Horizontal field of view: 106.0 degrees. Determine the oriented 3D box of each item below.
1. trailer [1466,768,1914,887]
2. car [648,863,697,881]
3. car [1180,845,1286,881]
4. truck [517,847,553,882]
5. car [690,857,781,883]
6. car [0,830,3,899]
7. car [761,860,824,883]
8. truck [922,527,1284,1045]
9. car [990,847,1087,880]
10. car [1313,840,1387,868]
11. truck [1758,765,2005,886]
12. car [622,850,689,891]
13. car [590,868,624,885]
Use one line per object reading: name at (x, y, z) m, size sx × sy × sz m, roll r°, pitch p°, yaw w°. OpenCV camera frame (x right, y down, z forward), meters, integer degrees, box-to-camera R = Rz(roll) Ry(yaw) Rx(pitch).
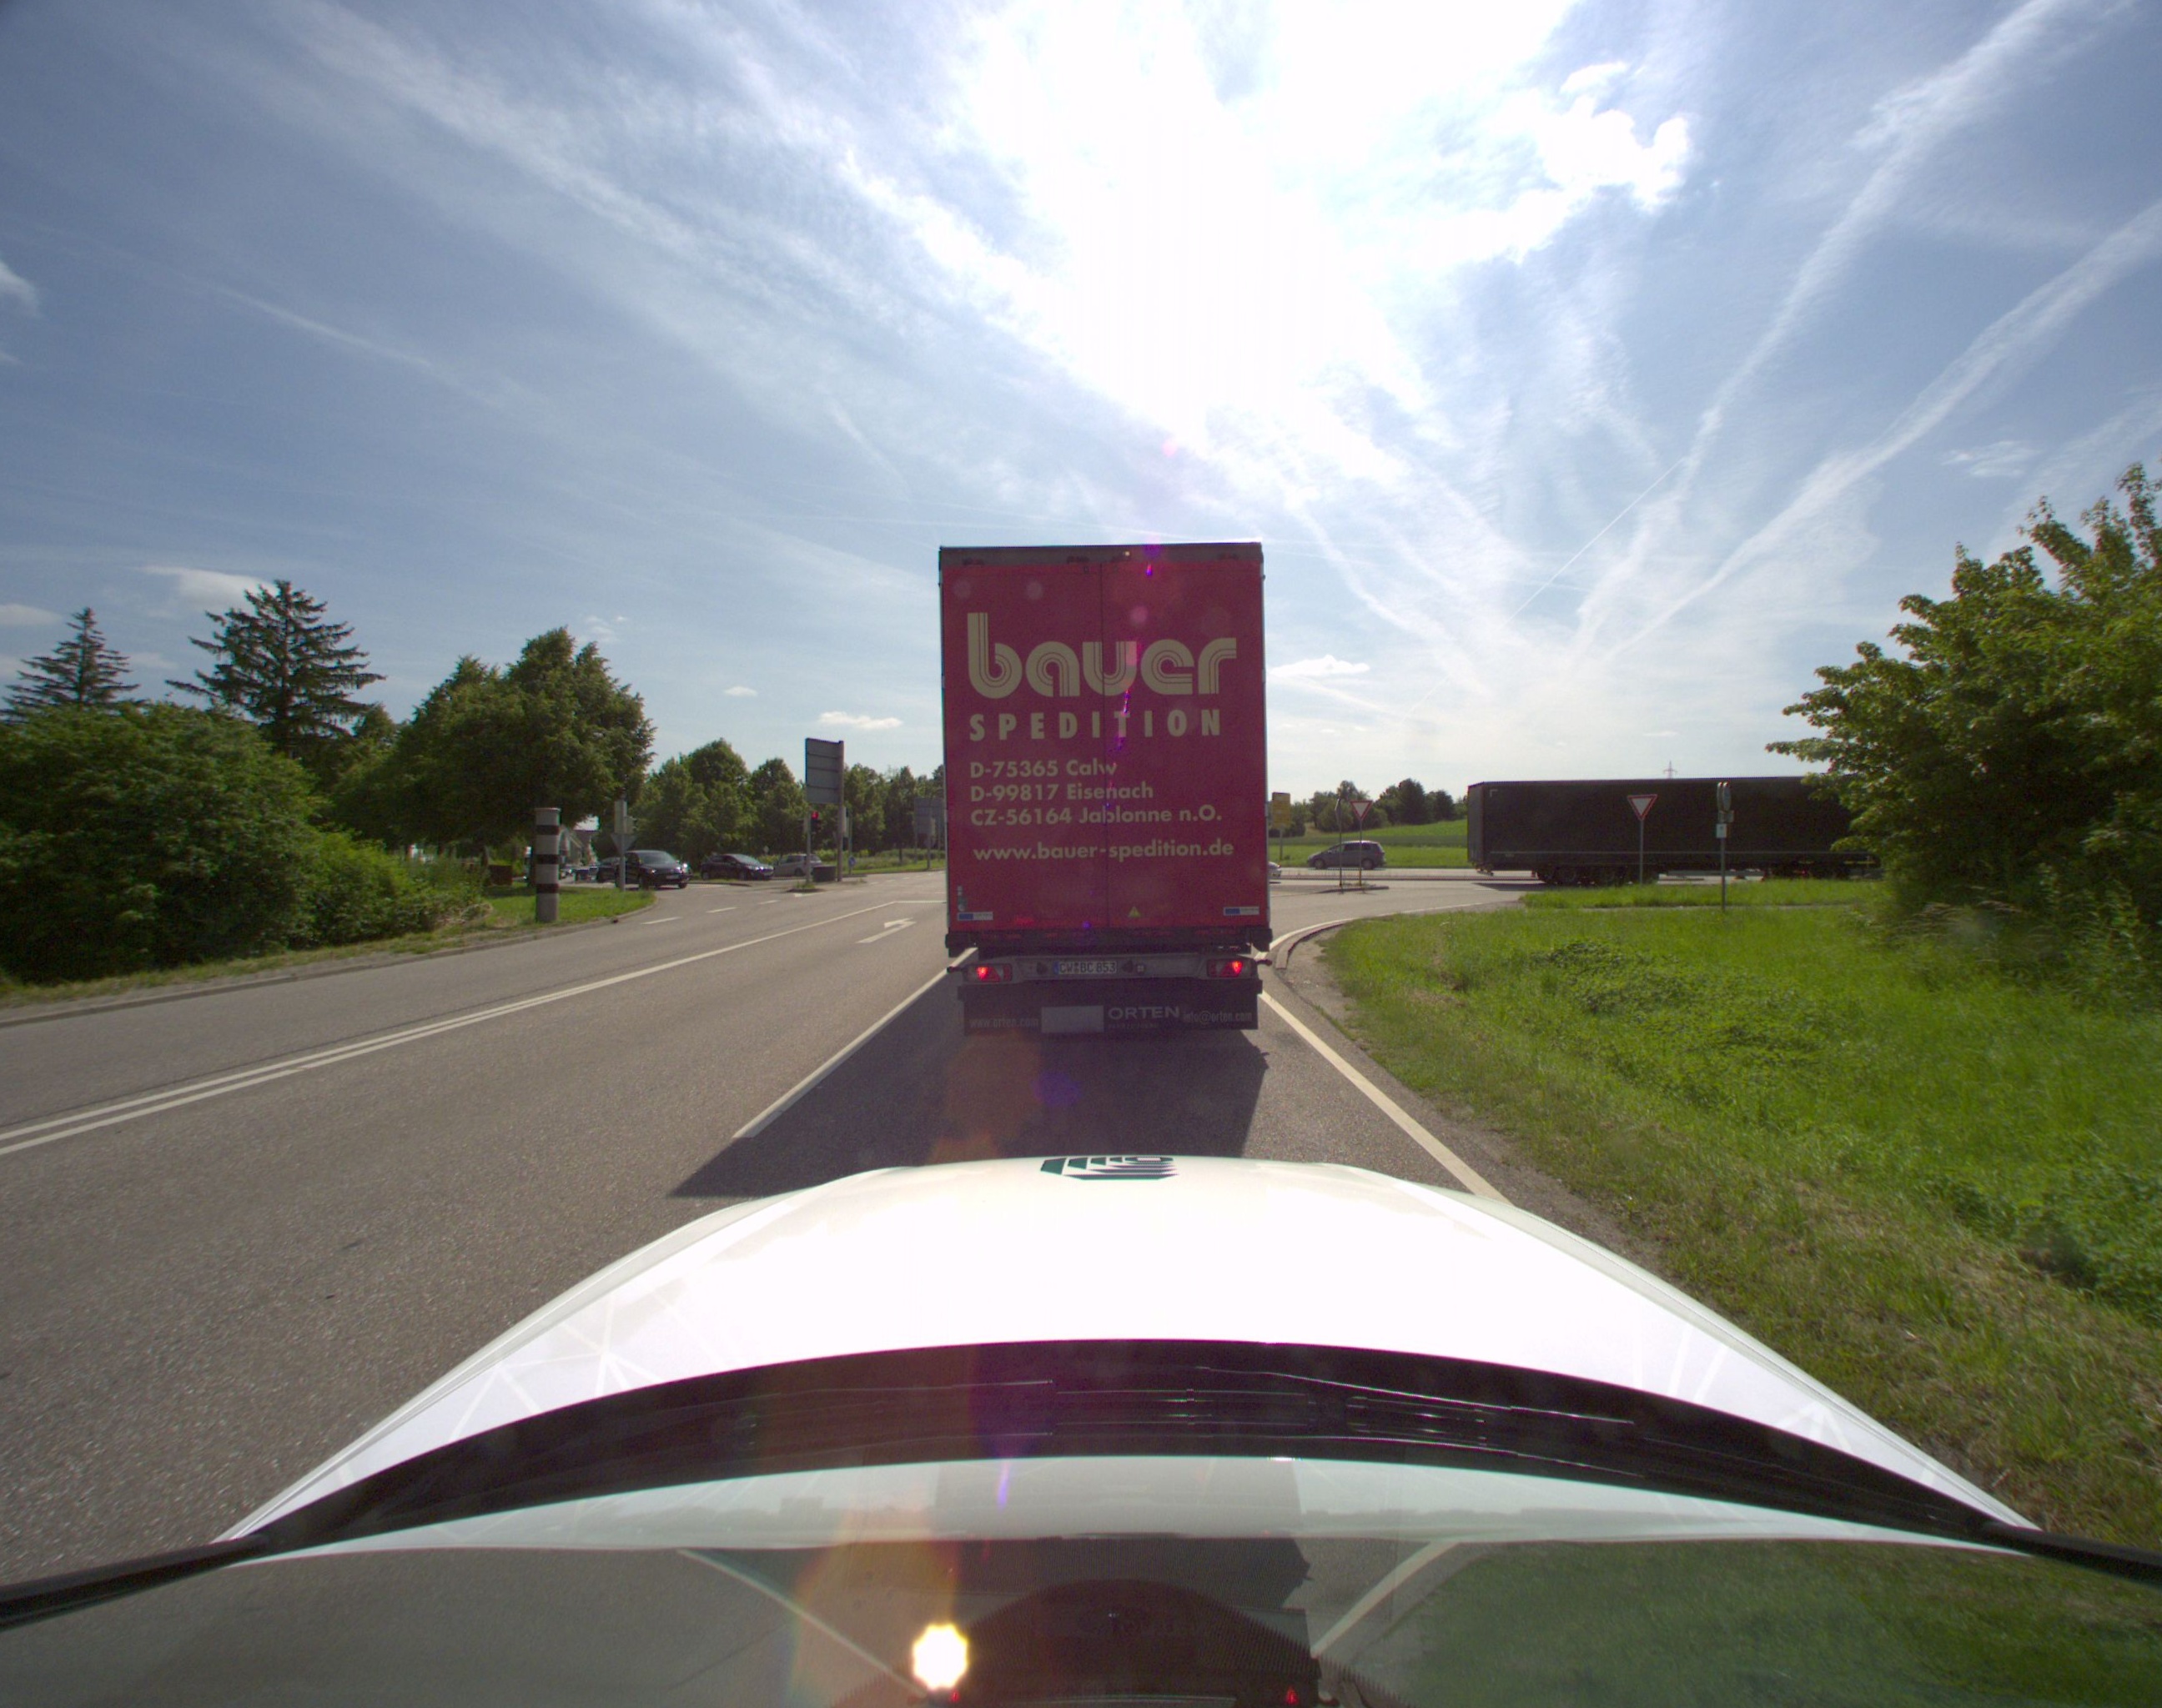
trailer at (22.159, -0.905, 30.713) m, size 13.589 × 4.061 × 2.808 m, roll 0°, pitch 1°, yaw 13°
car at (-31.187, 1.390, 62.116) m, size 4.226 × 1.305 × 1.753 m, roll -1°, pitch 0°, yaw 39°
car at (6.426, 0.370, 34.385) m, size 4.214 × 1.461 × 1.817 m, roll 0°, pitch 1°, yaw 16°
truck at (-62.440, 1.218, 93.202) m, size 2.956 × 3.798 × 7.849 m, roll 0°, pitch -1°, yaw -31°
car at (-17.704, 0.798, 41.756) m, size 4.230 × 1.305 × 1.751 m, roll 0°, pitch -1°, yaw 21°
car at (-36.070, 0.315, 24.108) m, size 4.601 × 2.180 × 1.985 m, roll 0°, pitch 0°, yaw -22°
car at (-18.990, 1.138, 53.570) m, size 3.958 × 1.491 × 1.547 m, roll -1°, pitch -1°, yaw 26°
truck at (0.397, -0.573, 14.546) m, size 2.724 × 3.925 × 16.631 m, roll -1°, pitch 0°, yaw 2°
car at (-1.900, 0.414, 36.776) m, size 4.002 × 1.416 × 1.803 m, roll 0°, pitch 1°, yaw 18°
car at (15.907, 0.015, 48.231) m, size 3.949 × 1.596 × 1.675 m, roll 0°, pitch 0°, yaw 28°
truck at (28.545, -0.969, 29.331) m, size 5.788 × 4.061 × 2.807 m, roll 0°, pitch 1°, yaw 11°
car at (-18.249, 0.658, 34.827) m, size 1.818 × 1.597 × 4.221 m, roll -2°, pitch 1°, yaw -38°
car at (-41.073, 1.924, 70.546) m, size 1.686 × 1.357 × 3.814 m, roll -3°, pitch 1°, yaw -42°
